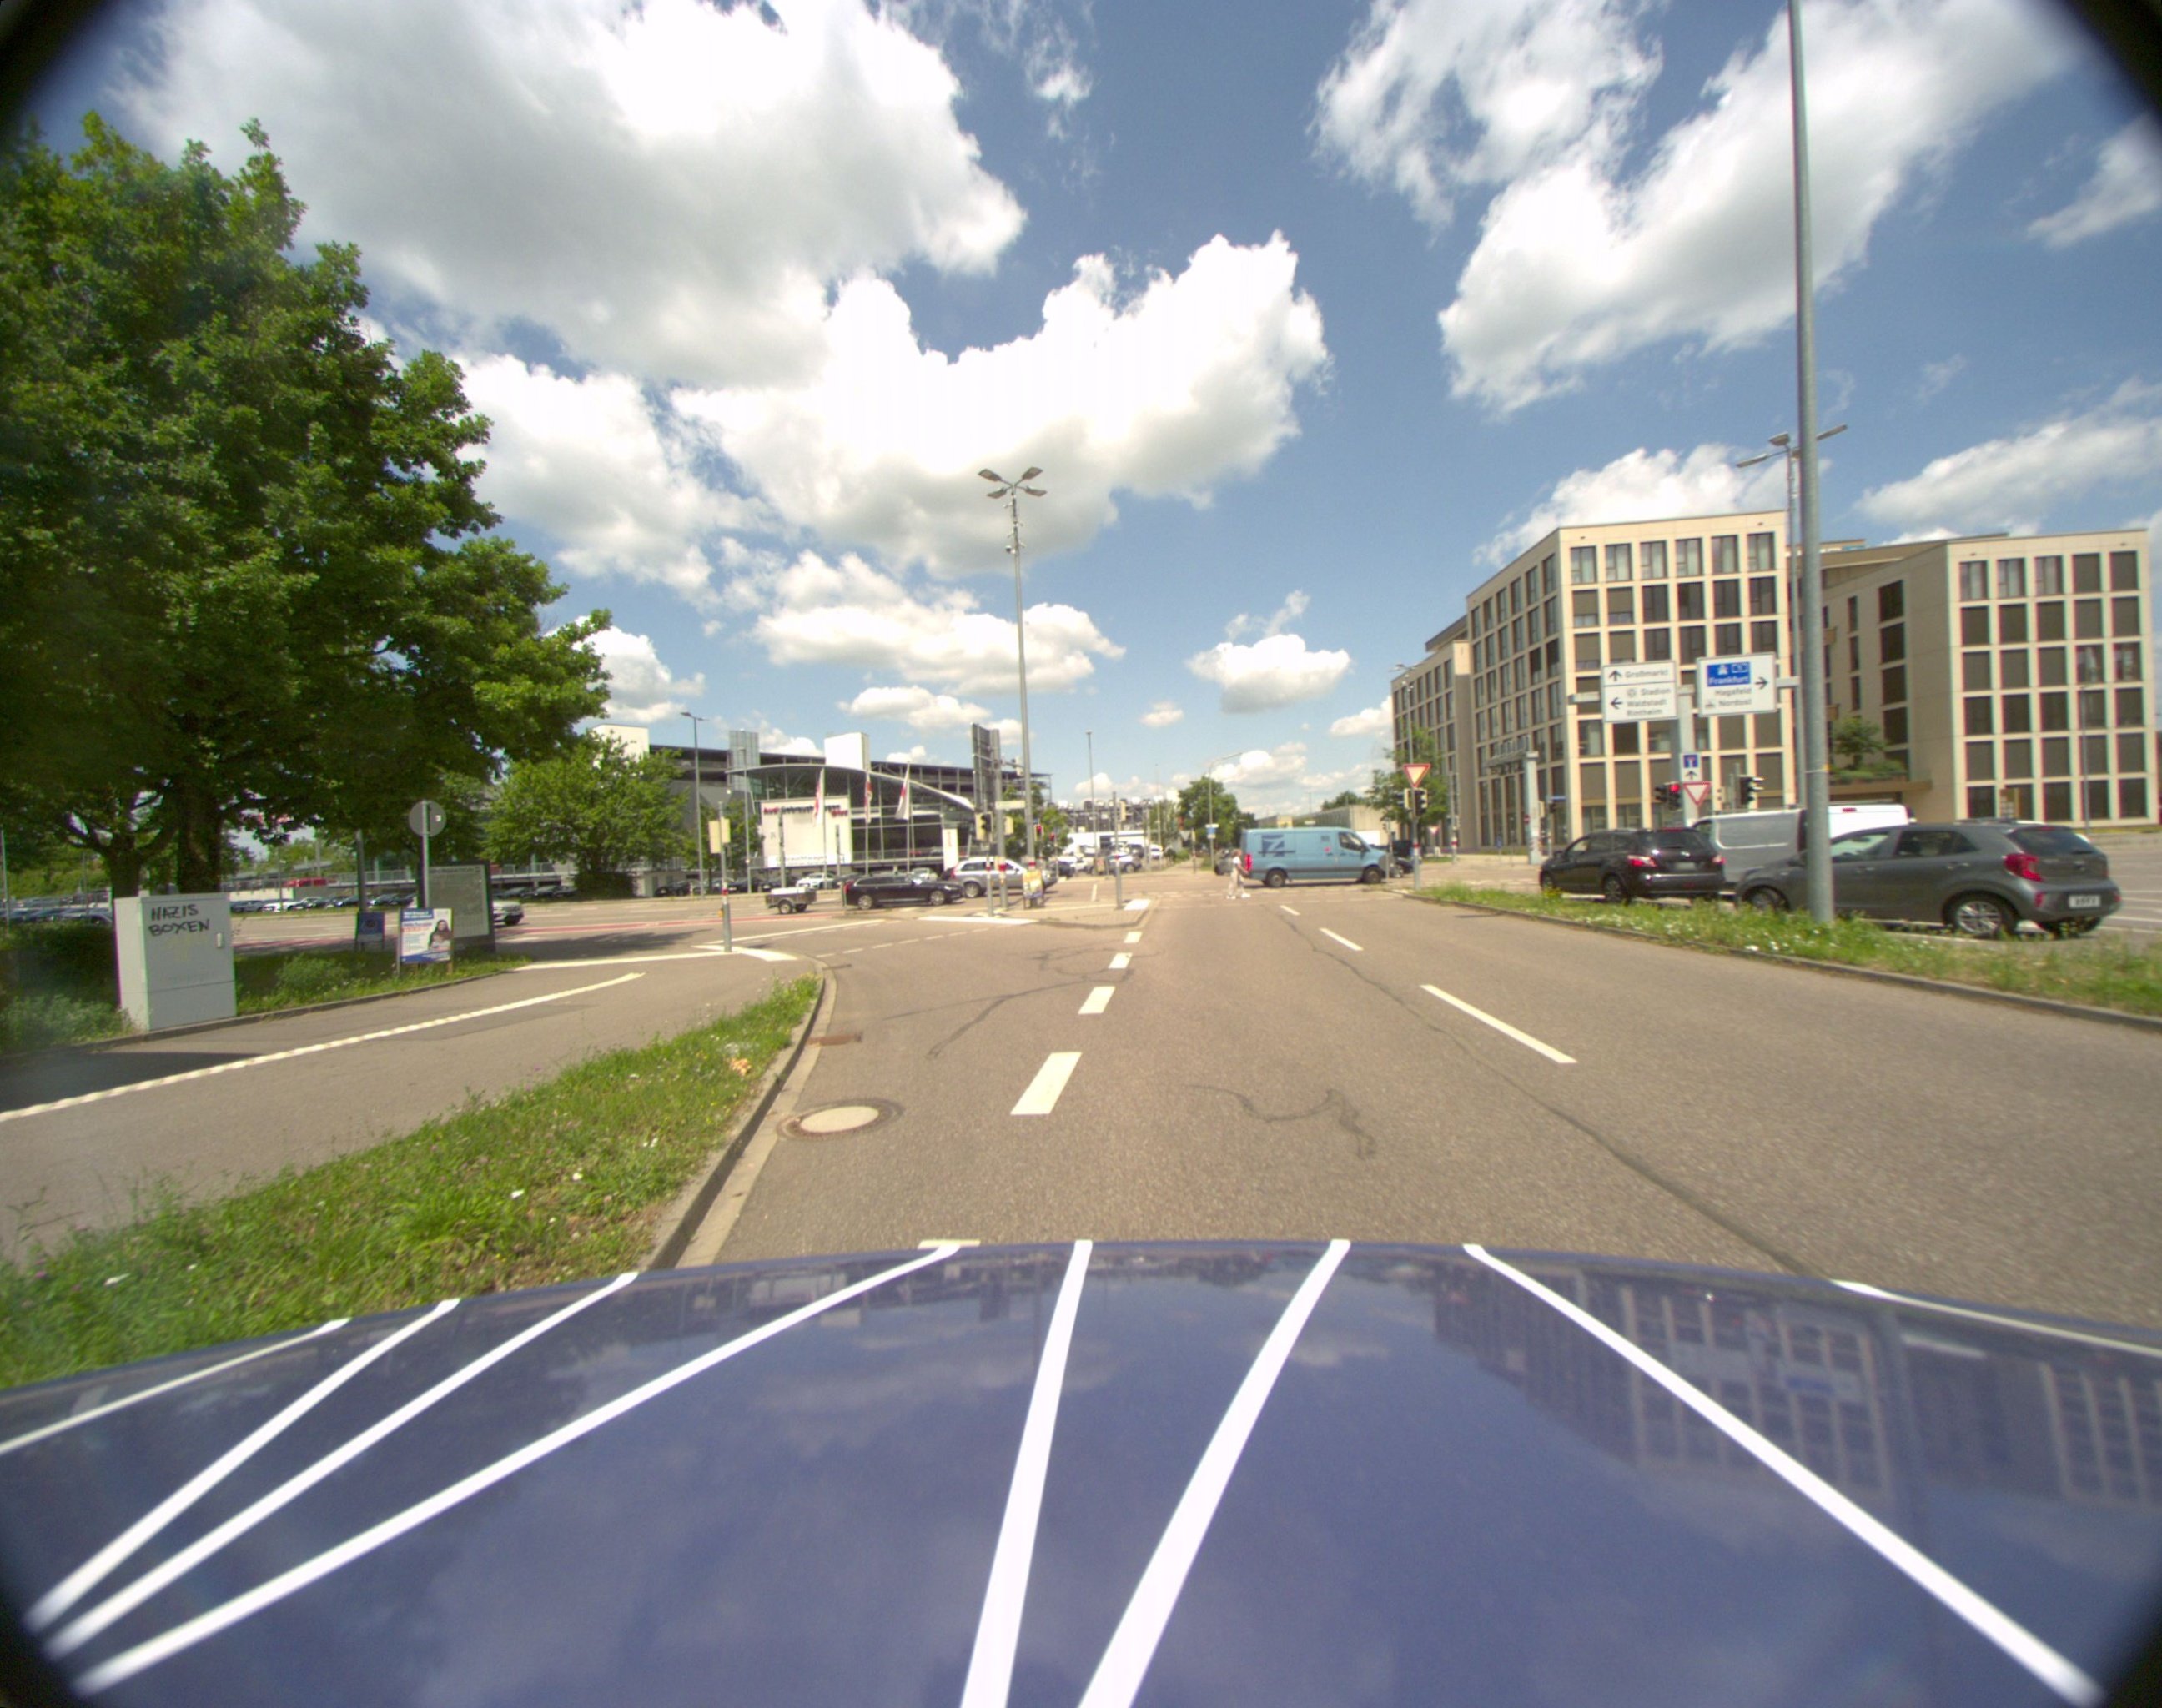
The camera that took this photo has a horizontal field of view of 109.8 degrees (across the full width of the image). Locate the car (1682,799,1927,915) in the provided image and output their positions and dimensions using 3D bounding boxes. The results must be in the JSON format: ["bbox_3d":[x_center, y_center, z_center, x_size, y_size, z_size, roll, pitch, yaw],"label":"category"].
[{"bbox_3d":[14.550,0.092,15.600,1.860,2.031,3.579,-2,-1,9],"label":"car"}]

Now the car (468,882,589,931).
[{"bbox_3d":[-23.600,2.226,32.568,3.756,1.718,1.863,-3,2,4],"label":"car"}]

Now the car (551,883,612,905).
[{"bbox_3d":[-39.400,3.112,60.013,1.795,1.542,4.003,-2,-1,7],"label":"car"}]

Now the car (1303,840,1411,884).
[{"bbox_3d":[12.211,0.352,33.832,4.176,1.718,1.864,-2,0,7],"label":"car"}]

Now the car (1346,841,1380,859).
[{"bbox_3d":[29.803,-0.400,80.215,1.858,1.718,4.190,-2,1,43],"label":"car"}]

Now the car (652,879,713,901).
[{"bbox_3d":[-30.716,2.761,58.710,1.794,1.542,4.005,-2,-1,16],"label":"car"}]

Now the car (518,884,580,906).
[{"bbox_3d":[-42.123,3.220,60.254,1.795,1.542,4.002,-2,-1,7],"label":"car"}]

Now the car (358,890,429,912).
[{"bbox_3d":[-55.022,3.725,60.918,1.795,1.542,4.002,-2,-1,7],"label":"car"}]

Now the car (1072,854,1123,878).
[{"bbox_3d":[1.352,0.948,61.584,3.996,1.772,2.001,-2,-1,4],"label":"car"}]

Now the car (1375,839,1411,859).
[{"bbox_3d":[30.545,-0.499,74.381,1.858,1.718,4.190,-2,1,43],"label":"car"}]

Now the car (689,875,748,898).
[{"bbox_3d":[-27.834,2.497,58.429,1.794,1.542,4.005,-2,-1,16],"label":"car"}]

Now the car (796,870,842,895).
[{"bbox_3d":[-19.946,2.144,57.994,1.861,1.718,3.761,-3,0,6],"label":"car"}]

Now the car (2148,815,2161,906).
[{"bbox_3d":[20.740,0.068,12.254,1.795,1.691,3.873,-2,-1,7],"label":"car"}]

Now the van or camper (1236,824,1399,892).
[{"bbox_3d":[9.281,0.153,30.202,5.844,2.368,2.000,-2,1,4],"label":"van or camper"}]

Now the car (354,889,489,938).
[{"bbox_3d":[-28.443,2.554,32.862,4.187,1.718,1.863,-3,2,4],"label":"car"}]

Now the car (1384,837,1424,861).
[{"bbox_3d":[29.997,-0.506,70.449,2.137,2.079,4.031,-2,1,42],"label":"car"}]

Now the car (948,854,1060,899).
[{"bbox_3d":[-3.477,0.998,34.698,4.750,1.718,1.864,-3,0,4],"label":"car"}]

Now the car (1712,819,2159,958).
[{"bbox_3d":[11.611,0.441,10.758,1.798,1.551,3.767,-2,-1,-12],"label":"car"}]

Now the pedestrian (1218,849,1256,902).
[{"bbox_3d":[5.059,0.701,24.705,0.840,1.642,0.971,-3,0,-9],"label":"pedestrian"}]

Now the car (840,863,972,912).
[{"bbox_3d":[-7.148,1.350,31.314,4.817,1.570,2.000,-4,1,4],"label":"car"}]

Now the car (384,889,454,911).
[{"bbox_3d":[-52.623,3.627,60.525,1.795,1.542,4.002,-2,-1,7],"label":"car"}]

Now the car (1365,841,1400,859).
[{"bbox_3d":[30.941,-0.413,77.945,1.858,1.718,4.190,-2,1,43],"label":"car"}]

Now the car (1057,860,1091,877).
[{"bbox_3d":[-0.784,1.664,89.110,1.995,1.772,4.008,-3,-1,35],"label":"car"}]

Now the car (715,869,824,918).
[{"bbox_3d":[-12.994,1.650,31.848,3.756,1.718,1.673,-3,2,4],"label":"car"}]

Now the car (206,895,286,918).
[{"bbox_3d":[-67.597,4.218,61.613,1.795,1.542,4.002,-2,-1,7],"label":"car"}]

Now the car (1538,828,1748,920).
[{"bbox_3d":[11.596,0.401,16.085,1.795,1.634,4.174,-2,-1,9],"label":"car"}]
